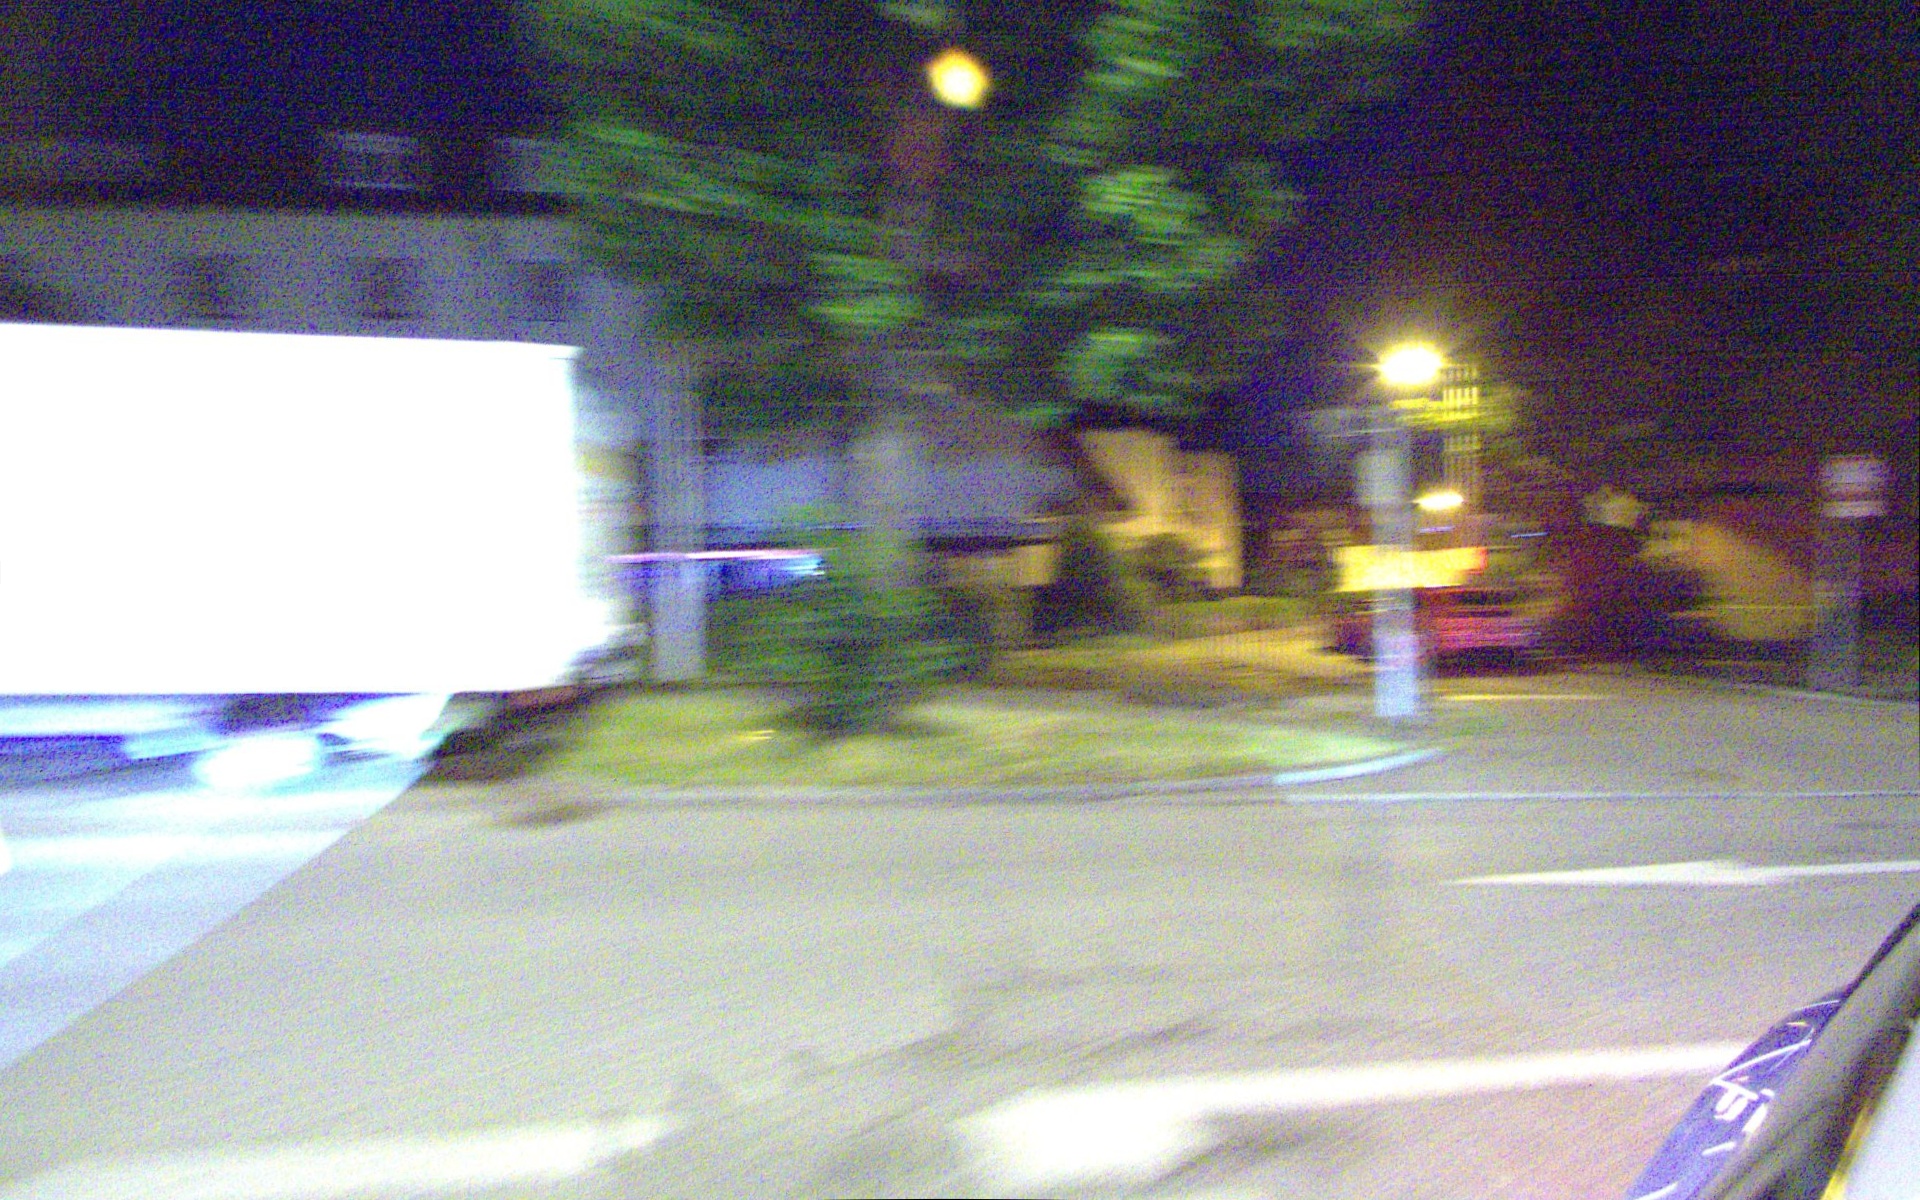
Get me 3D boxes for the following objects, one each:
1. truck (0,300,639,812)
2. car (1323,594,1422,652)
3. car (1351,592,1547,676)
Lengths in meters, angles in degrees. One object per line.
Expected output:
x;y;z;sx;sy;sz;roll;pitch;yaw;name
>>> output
-6.166;-0.333;7.438;6.892;3.081;2.779;1;3;-8;truck
10.879;0.565;26.947;1.852;1.405;4.059;-1;0;14;car
9.983;0.634;21.076;2.014;1.575;4.254;0;0;0;car
